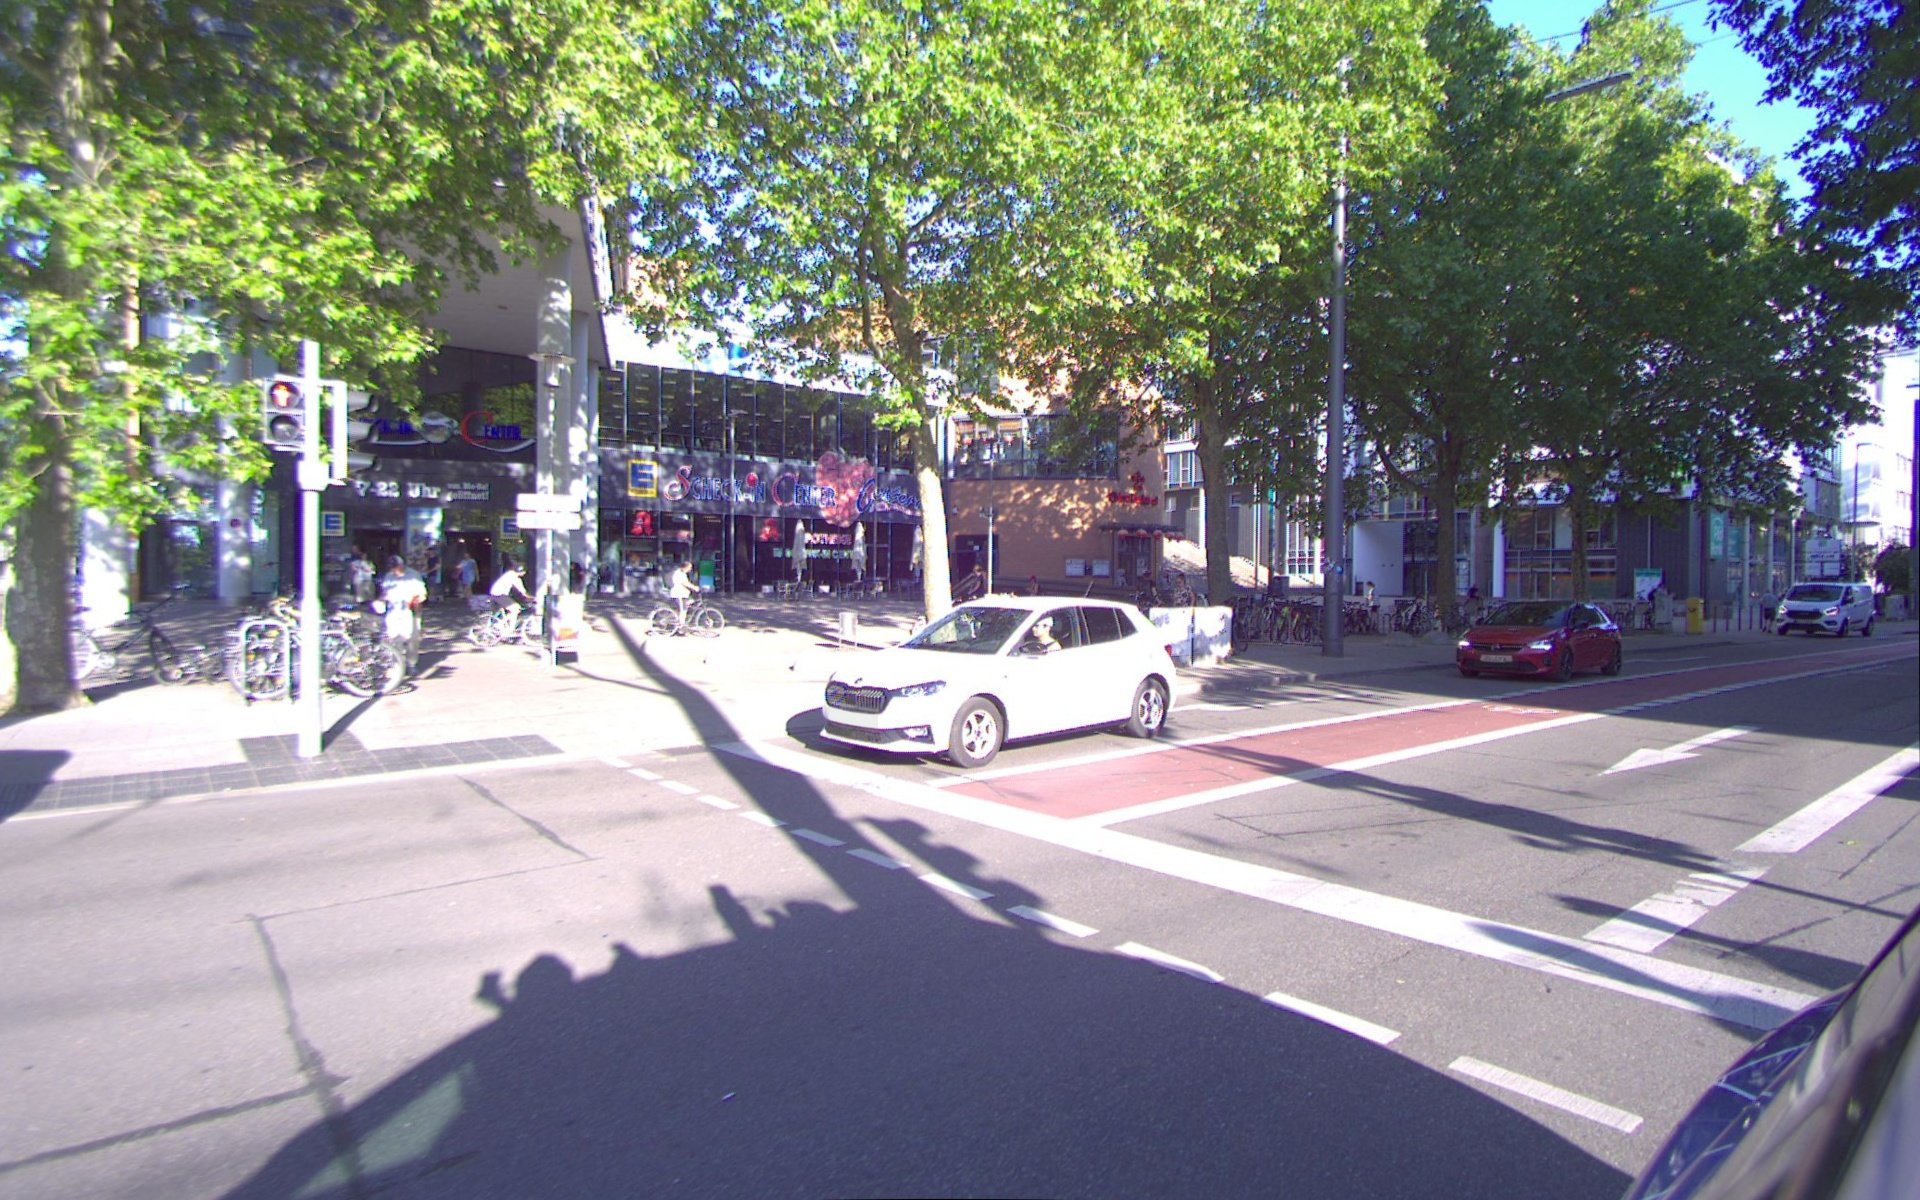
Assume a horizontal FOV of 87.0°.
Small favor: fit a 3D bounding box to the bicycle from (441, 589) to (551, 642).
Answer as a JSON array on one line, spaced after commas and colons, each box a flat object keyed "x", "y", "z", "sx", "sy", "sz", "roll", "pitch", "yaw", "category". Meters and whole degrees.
[{"x": -9.697, "y": 0.310, "z": 21.211, "sx": 1.973, "sy": 1.080, "sz": 0.697, "roll": 0, "pitch": 1, "yaw": -10, "category": "bicycle"}]

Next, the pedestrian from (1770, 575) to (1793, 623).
[{"x": 31.745, "y": -0.044, "z": 39.097, "sx": 0.582, "sy": 1.821, "sz": 0.561, "roll": 0, "pitch": 1, "yaw": -41, "category": "pedestrian"}]

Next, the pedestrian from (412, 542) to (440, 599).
[{"x": -16.836, "y": -0.930, "z": 31.902, "sx": 0.581, "sy": 1.777, "sz": 0.596, "roll": 1, "pitch": 1, "yaw": -5, "category": "pedestrian"}]

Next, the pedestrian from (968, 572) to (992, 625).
[{"x": 0.633, "y": -0.052, "z": 32.214, "sx": 0.558, "sy": 1.690, "sz": 0.545, "roll": 0, "pitch": 1, "yaw": -22, "category": "pedestrian"}]

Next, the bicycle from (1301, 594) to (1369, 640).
[{"x": 9.197, "y": 0.406, "z": 24.791, "sx": 1.910, "sy": 1.077, "sz": 0.578, "roll": 0, "pitch": 1, "yaw": -36, "category": "bicycle"}]

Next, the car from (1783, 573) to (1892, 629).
[{"x": 32.899, "y": -0.010, "z": 37.901, "sx": 4.871, "sy": 1.970, "sz": 1.973, "roll": -1, "pitch": 1, "yaw": -35, "category": "car"}]

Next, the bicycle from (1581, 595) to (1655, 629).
[{"x": 21.605, "y": 0.377, "z": 33.263, "sx": 0.569, "sy": 1.077, "sz": 1.942, "roll": 0, "pitch": 1, "yaw": -44, "category": "bicycle"}]

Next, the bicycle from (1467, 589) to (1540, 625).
[{"x": 17.173, "y": 0.217, "z": 32.026, "sx": 0.569, "sy": 1.077, "sz": 1.942, "roll": 0, "pitch": 1, "yaw": -44, "category": "bicycle"}]

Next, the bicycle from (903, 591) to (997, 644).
[{"x": -0.203, "y": 0.360, "z": 21.702, "sx": 1.910, "sy": 1.077, "sz": 0.783, "roll": 0, "pitch": 1, "yaw": -36, "category": "bicycle"}]

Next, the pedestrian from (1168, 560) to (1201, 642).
[{"x": 4.732, "y": 0.010, "z": 21.310, "sx": 0.564, "sy": 1.690, "sz": 0.539, "roll": 1, "pitch": 1, "yaw": 23, "category": "pedestrian"}]

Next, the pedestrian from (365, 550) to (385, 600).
[{"x": -18.938, "y": -0.816, "z": 32.775, "sx": 0.349, "sy": 1.620, "sz": 0.453, "roll": 1, "pitch": 1, "yaw": 35, "category": "pedestrian"}]

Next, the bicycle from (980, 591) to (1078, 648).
[{"x": 1.400, "y": 0.365, "z": 20.350, "sx": 1.910, "sy": 1.077, "sz": 0.783, "roll": 0, "pitch": 1, "yaw": -36, "category": "bicycle"}]

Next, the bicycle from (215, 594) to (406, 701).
[{"x": -7.593, "y": 0.511, "z": 11.878, "sx": 1.811, "sy": 1.143, "sz": 0.774, "roll": -1, "pitch": 1, "yaw": -41, "category": "bicycle"}]

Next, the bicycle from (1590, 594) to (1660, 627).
[{"x": 23.018, "y": 0.352, "z": 35.041, "sx": 0.569, "sy": 1.077, "sz": 1.942, "roll": 0, "pitch": 1, "yaw": -44, "category": "bicycle"}]

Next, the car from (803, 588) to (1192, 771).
[{"x": 0.520, "y": 0.620, "z": 10.162, "sx": 3.933, "sy": 1.470, "sz": 1.632, "roll": -1, "pitch": 1, "yaw": -43, "category": "car"}]

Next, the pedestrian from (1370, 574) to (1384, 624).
[{"x": 13.213, "y": -0.038, "z": 32.062, "sx": 0.406, "sy": 1.574, "sz": 0.444, "roll": 1, "pitch": 1, "yaw": 23, "category": "pedestrian"}]

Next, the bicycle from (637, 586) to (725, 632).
[{"x": -6.747, "y": 0.200, "z": 24.470, "sx": 1.972, "sy": 1.080, "sz": 0.697, "roll": 0, "pitch": 1, "yaw": -22, "category": "bicycle"}]

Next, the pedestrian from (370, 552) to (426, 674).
[{"x": -8.546, "y": 0.187, "z": 15.384, "sx": 0.716, "sy": 1.787, "sz": 0.894, "roll": 0, "pitch": -1, "yaw": -30, "category": "pedestrian"}]

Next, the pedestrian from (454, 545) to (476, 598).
[{"x": -15.808, "y": -0.912, "z": 32.309, "sx": 0.583, "sy": 1.677, "sz": 0.593, "roll": 0, "pitch": 1, "yaw": -31, "category": "pedestrian"}]

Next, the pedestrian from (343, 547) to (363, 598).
[{"x": -19.568, "y": -0.874, "z": 32.603, "sx": 0.349, "sy": 1.620, "sz": 0.453, "roll": 1, "pitch": 1, "yaw": 35, "category": "pedestrian"}]

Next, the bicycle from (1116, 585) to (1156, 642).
[{"x": 4.059, "y": 0.263, "z": 23.604, "sx": 0.770, "sy": 1.204, "sz": 3.551, "roll": 0, "pitch": 1, "yaw": 8, "category": "bicycle"}]

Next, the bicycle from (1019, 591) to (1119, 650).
[{"x": 2.126, "y": 0.368, "z": 19.649, "sx": 1.910, "sy": 1.077, "sz": 0.783, "roll": 0, "pitch": 1, "yaw": -36, "category": "bicycle"}]

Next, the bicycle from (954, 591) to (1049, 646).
[{"x": 0.873, "y": 0.361, "z": 20.991, "sx": 1.910, "sy": 1.077, "sz": 0.783, "roll": 0, "pitch": 1, "yaw": -36, "category": "bicycle"}]

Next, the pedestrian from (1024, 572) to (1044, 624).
[{"x": 2.443, "y": -0.072, "z": 33.282, "sx": 0.533, "sy": 1.690, "sz": 0.571, "roll": 0, "pitch": 1, "yaw": -7, "category": "pedestrian"}]

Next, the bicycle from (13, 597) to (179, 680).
[{"x": -11.620, "y": 0.489, "z": 13.680, "sx": 1.668, "sy": 1.049, "sz": 0.549, "roll": 0, "pitch": 1, "yaw": -37, "category": "bicycle"}]

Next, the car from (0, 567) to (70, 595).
[{"x": -54.792, "y": -1.115, "z": 60.050, "sx": 1.755, "sy": 1.613, "sz": 4.008, "roll": 0, "pitch": 1, "yaw": -22, "category": "car"}]

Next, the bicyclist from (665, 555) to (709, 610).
[{"x": -6.616, "y": -0.426, "z": 24.518, "sx": 0.939, "sy": 1.316, "sz": 0.676, "roll": 0, "pitch": 1, "yaw": -22, "category": "bicyclist"}]

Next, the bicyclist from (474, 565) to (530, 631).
[{"x": -9.598, "y": -0.053, "z": 21.234, "sx": 0.939, "sy": 1.361, "sz": 0.676, "roll": 0, "pitch": 1, "yaw": -9, "category": "bicyclist"}]

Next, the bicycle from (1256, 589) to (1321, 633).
[{"x": 8.449, "y": 0.274, "z": 25.969, "sx": 1.910, "sy": 1.077, "sz": 0.578, "roll": 0, "pitch": 1, "yaw": -36, "category": "bicycle"}]

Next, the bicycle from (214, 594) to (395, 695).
[{"x": -8.135, "y": 0.507, "z": 12.598, "sx": 1.811, "sy": 1.143, "sz": 0.774, "roll": -1, "pitch": 1, "yaw": -41, "category": "bicycle"}]

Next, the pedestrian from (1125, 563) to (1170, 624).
[{"x": 4.907, "y": -0.169, "z": 26.485, "sx": 0.860, "sy": 1.561, "sz": 0.765, "roll": 0, "pitch": 1, "yaw": -42, "category": "pedestrian"}]

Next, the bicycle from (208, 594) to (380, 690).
[{"x": -8.687, "y": 0.504, "z": 13.241, "sx": 1.811, "sy": 1.143, "sz": 0.774, "roll": -1, "pitch": 1, "yaw": -41, "category": "bicycle"}]

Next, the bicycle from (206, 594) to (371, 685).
[{"x": -9.202, "y": 0.501, "z": 13.909, "sx": 1.811, "sy": 1.143, "sz": 0.774, "roll": -1, "pitch": 1, "yaw": -41, "category": "bicycle"}]

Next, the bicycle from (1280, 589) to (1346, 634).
[{"x": 8.824, "y": 0.278, "z": 25.267, "sx": 1.910, "sy": 1.077, "sz": 0.578, "roll": 0, "pitch": 1, "yaw": -36, "category": "bicycle"}]

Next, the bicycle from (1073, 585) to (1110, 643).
[{"x": 3.054, "y": 0.269, "z": 23.451, "sx": 0.770, "sy": 1.204, "sz": 3.551, "roll": 0, "pitch": 1, "yaw": 8, "category": "bicycle"}]

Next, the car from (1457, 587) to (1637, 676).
[{"x": 10.842, "y": 0.495, "z": 18.582, "sx": 3.930, "sy": 1.446, "sz": 1.690, "roll": -1, "pitch": 1, "yaw": -41, "category": "car"}]

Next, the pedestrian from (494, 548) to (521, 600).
[{"x": -14.786, "y": -0.851, "z": 33.053, "sx": 0.554, "sy": 1.677, "sz": 0.589, "roll": 1, "pitch": 1, "yaw": 20, "category": "pedestrian"}]
